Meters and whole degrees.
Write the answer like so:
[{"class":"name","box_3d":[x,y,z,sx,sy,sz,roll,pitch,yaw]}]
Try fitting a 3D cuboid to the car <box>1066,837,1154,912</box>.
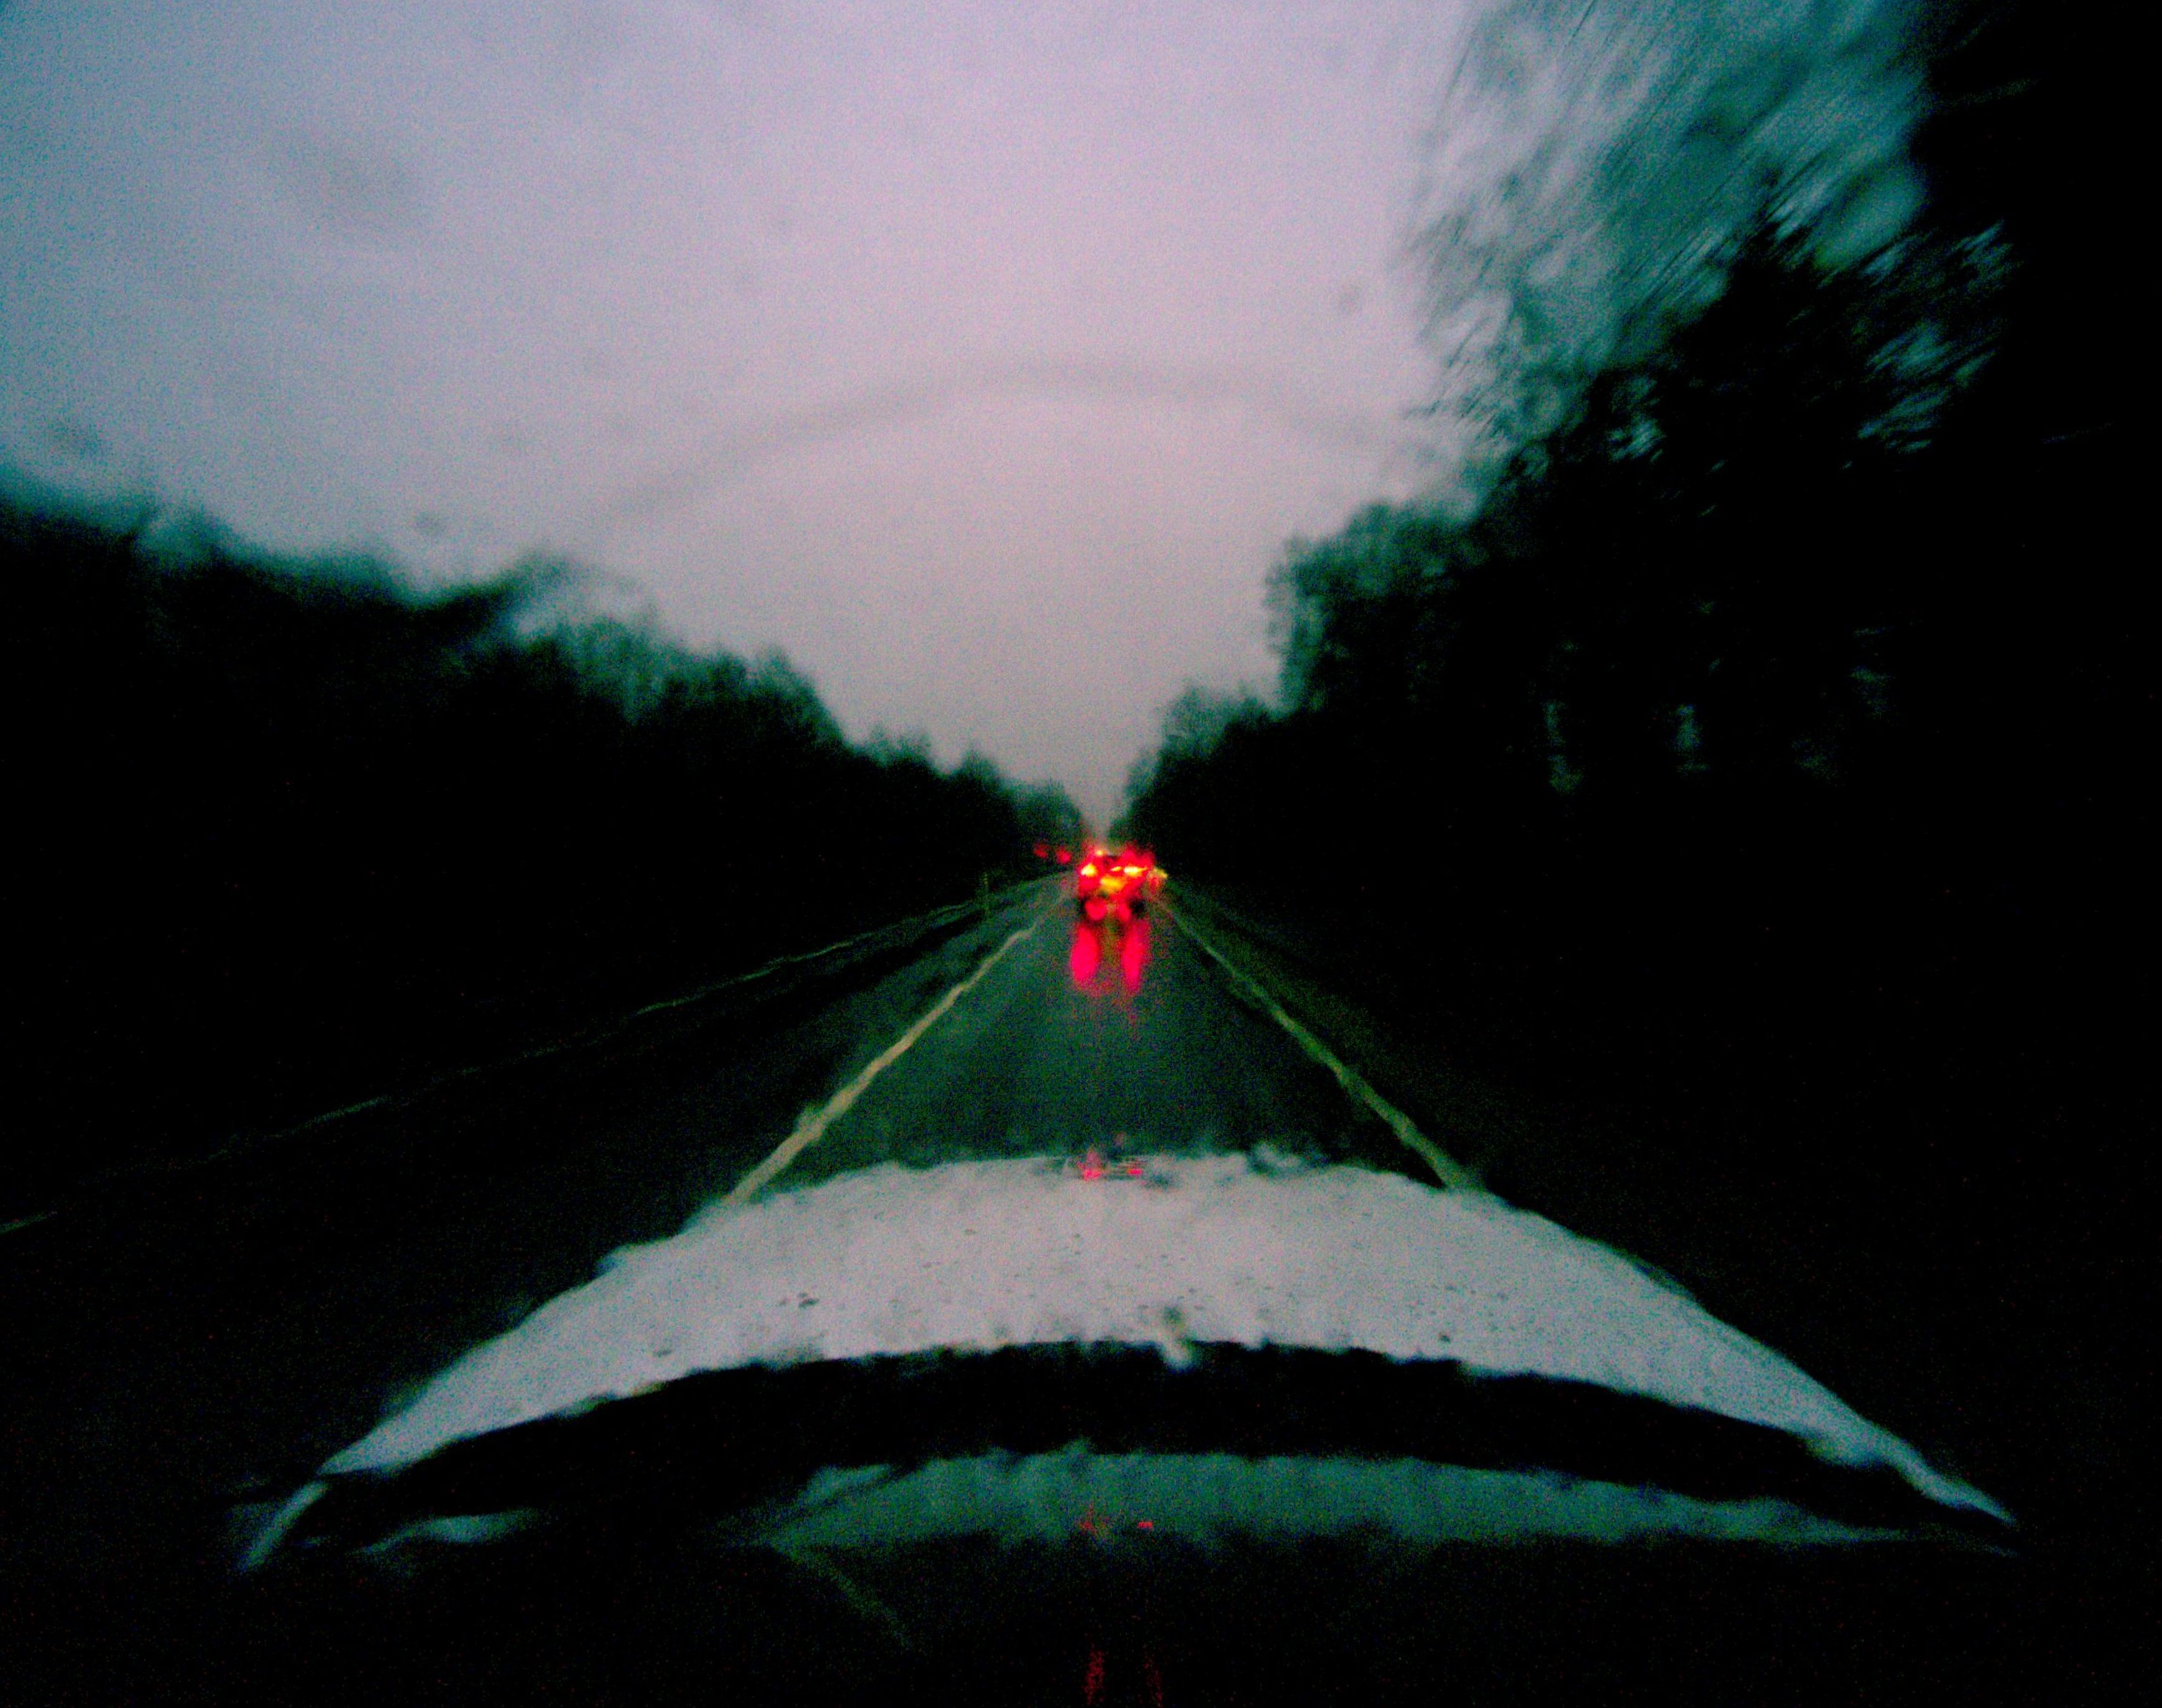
[{"class":"car","box_3d":[0.793,0.503,22.905,2.190,1.877,4.828,0,0,1]}]
